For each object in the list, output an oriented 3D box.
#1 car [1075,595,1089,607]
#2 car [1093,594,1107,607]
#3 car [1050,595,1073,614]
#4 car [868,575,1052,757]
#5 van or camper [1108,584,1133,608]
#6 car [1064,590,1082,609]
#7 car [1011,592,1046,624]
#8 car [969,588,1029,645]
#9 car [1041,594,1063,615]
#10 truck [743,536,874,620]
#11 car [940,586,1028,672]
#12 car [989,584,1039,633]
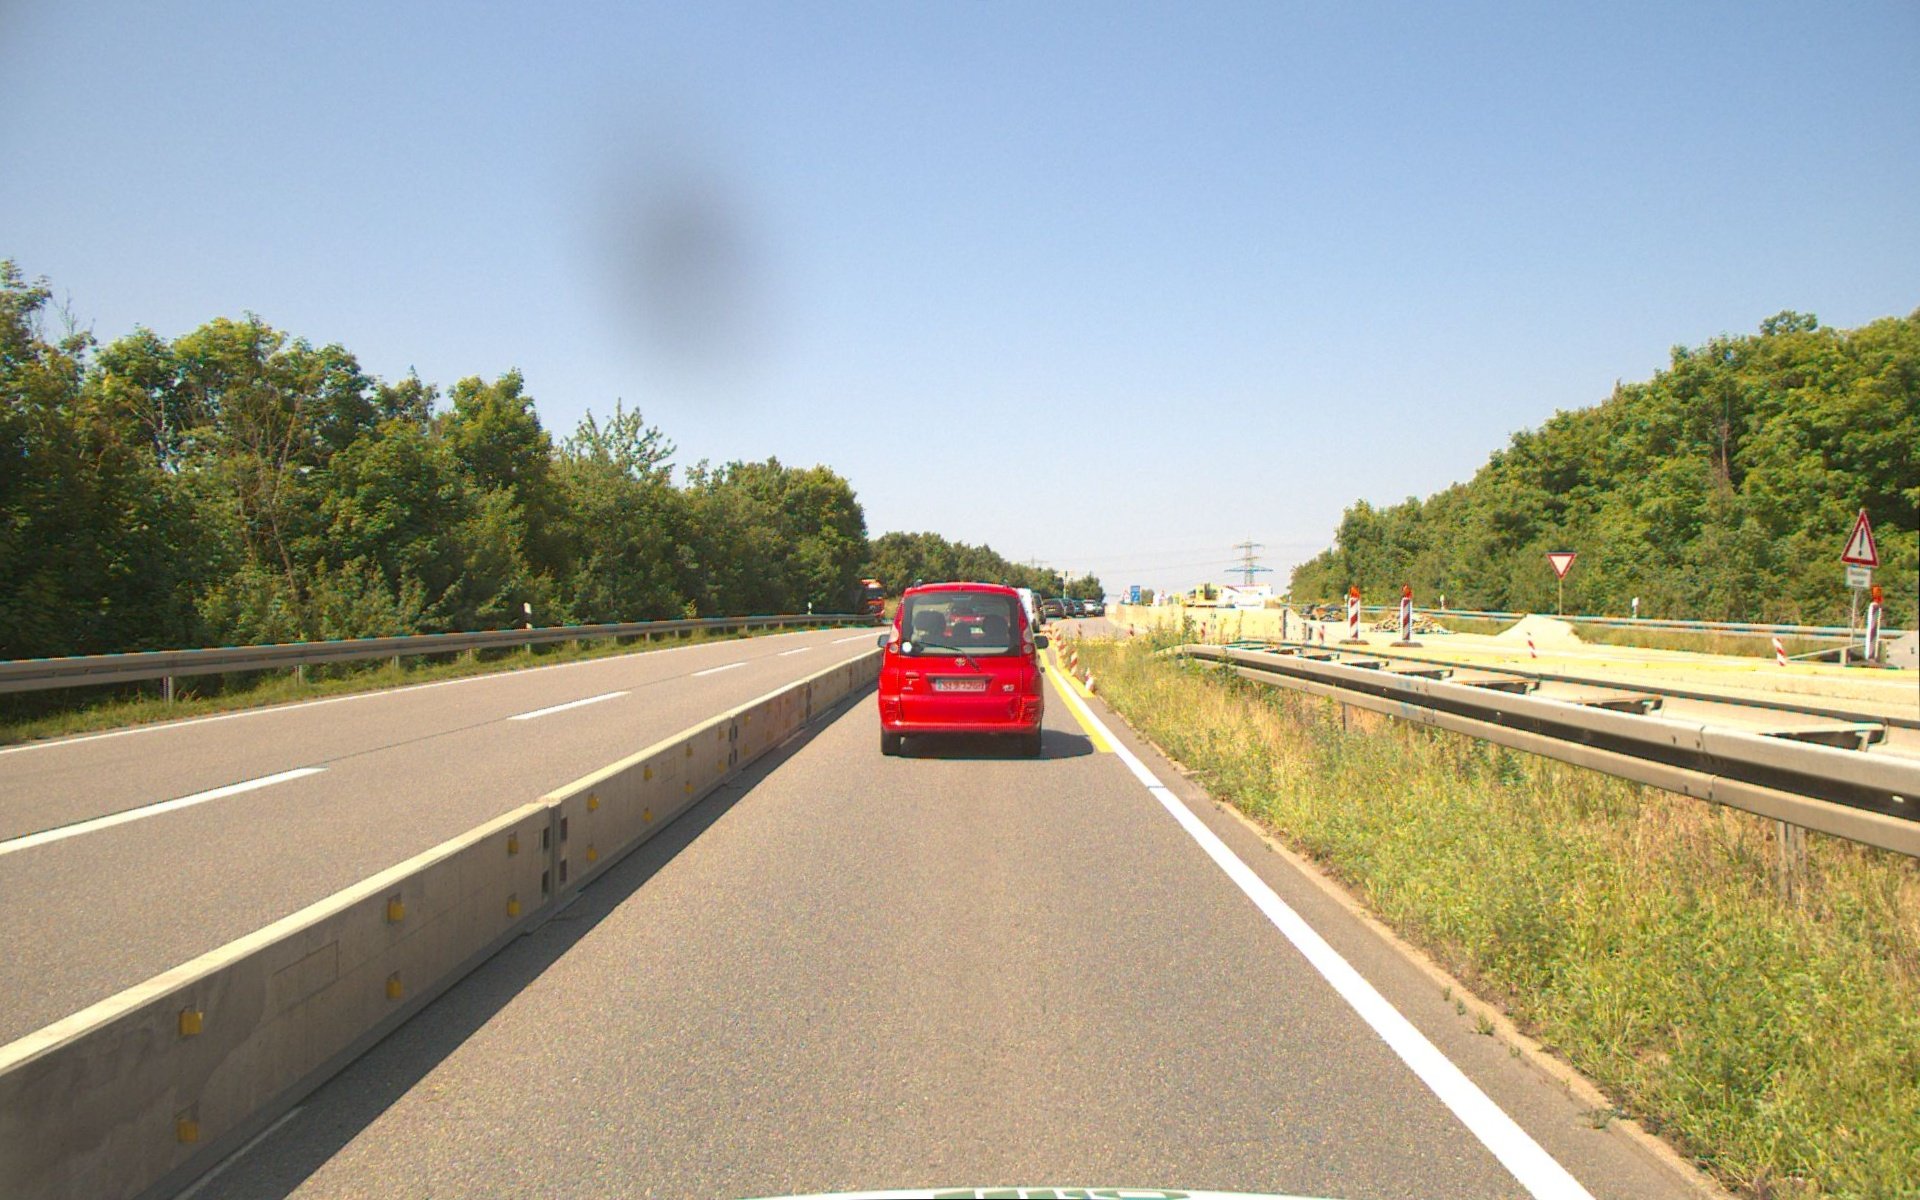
[{"bbox_3d":[12.952,0.107,175.408,1.392,1.321,2.880,0,0,3],"label":"car"},{"bbox_3d":[15.866,0.035,187.993,1.470,1.476,3.171,0,0,3],"label":"car"},{"bbox_3d":[8.855,0.362,144.213,1.952,1.613,4.002,0,0,4],"label":"car"},{"bbox_3d":[-0.008,0.623,17.516,1.716,1.702,3.999,0,0,0],"label":"car"},{"bbox_3d":[18.692,-0.486,192.930,2.281,2.754,4.591,0,0,-2],"label":"van or camper"},{"bbox_3d":[10.820,-0.043,158.516,1.471,1.767,3.170,0,0,1],"label":"car"},{"bbox_3d":[3.967,0.455,96.681,1.952,1.780,4.000,1,0,1],"label":"car"},{"bbox_3d":[1.327,0.541,56.254,1.952,1.870,4.001,0,0,2],"label":"car"},{"bbox_3d":[6.818,0.309,122.416,1.471,1.476,3.325,-1,0,0],"label":"car"},{"bbox_3d":[-10.232,-1.462,112.426,8.441,5.469,3.390,-1,0,2],"label":"truck"},{"bbox_3d":[0.507,0.599,35.937,1.793,1.752,4.000,0,0,0],"label":"car"},{"bbox_3d":[2.345,0.366,71.410,1.951,2.039,4.002,1,0,4],"label":"car"}]
